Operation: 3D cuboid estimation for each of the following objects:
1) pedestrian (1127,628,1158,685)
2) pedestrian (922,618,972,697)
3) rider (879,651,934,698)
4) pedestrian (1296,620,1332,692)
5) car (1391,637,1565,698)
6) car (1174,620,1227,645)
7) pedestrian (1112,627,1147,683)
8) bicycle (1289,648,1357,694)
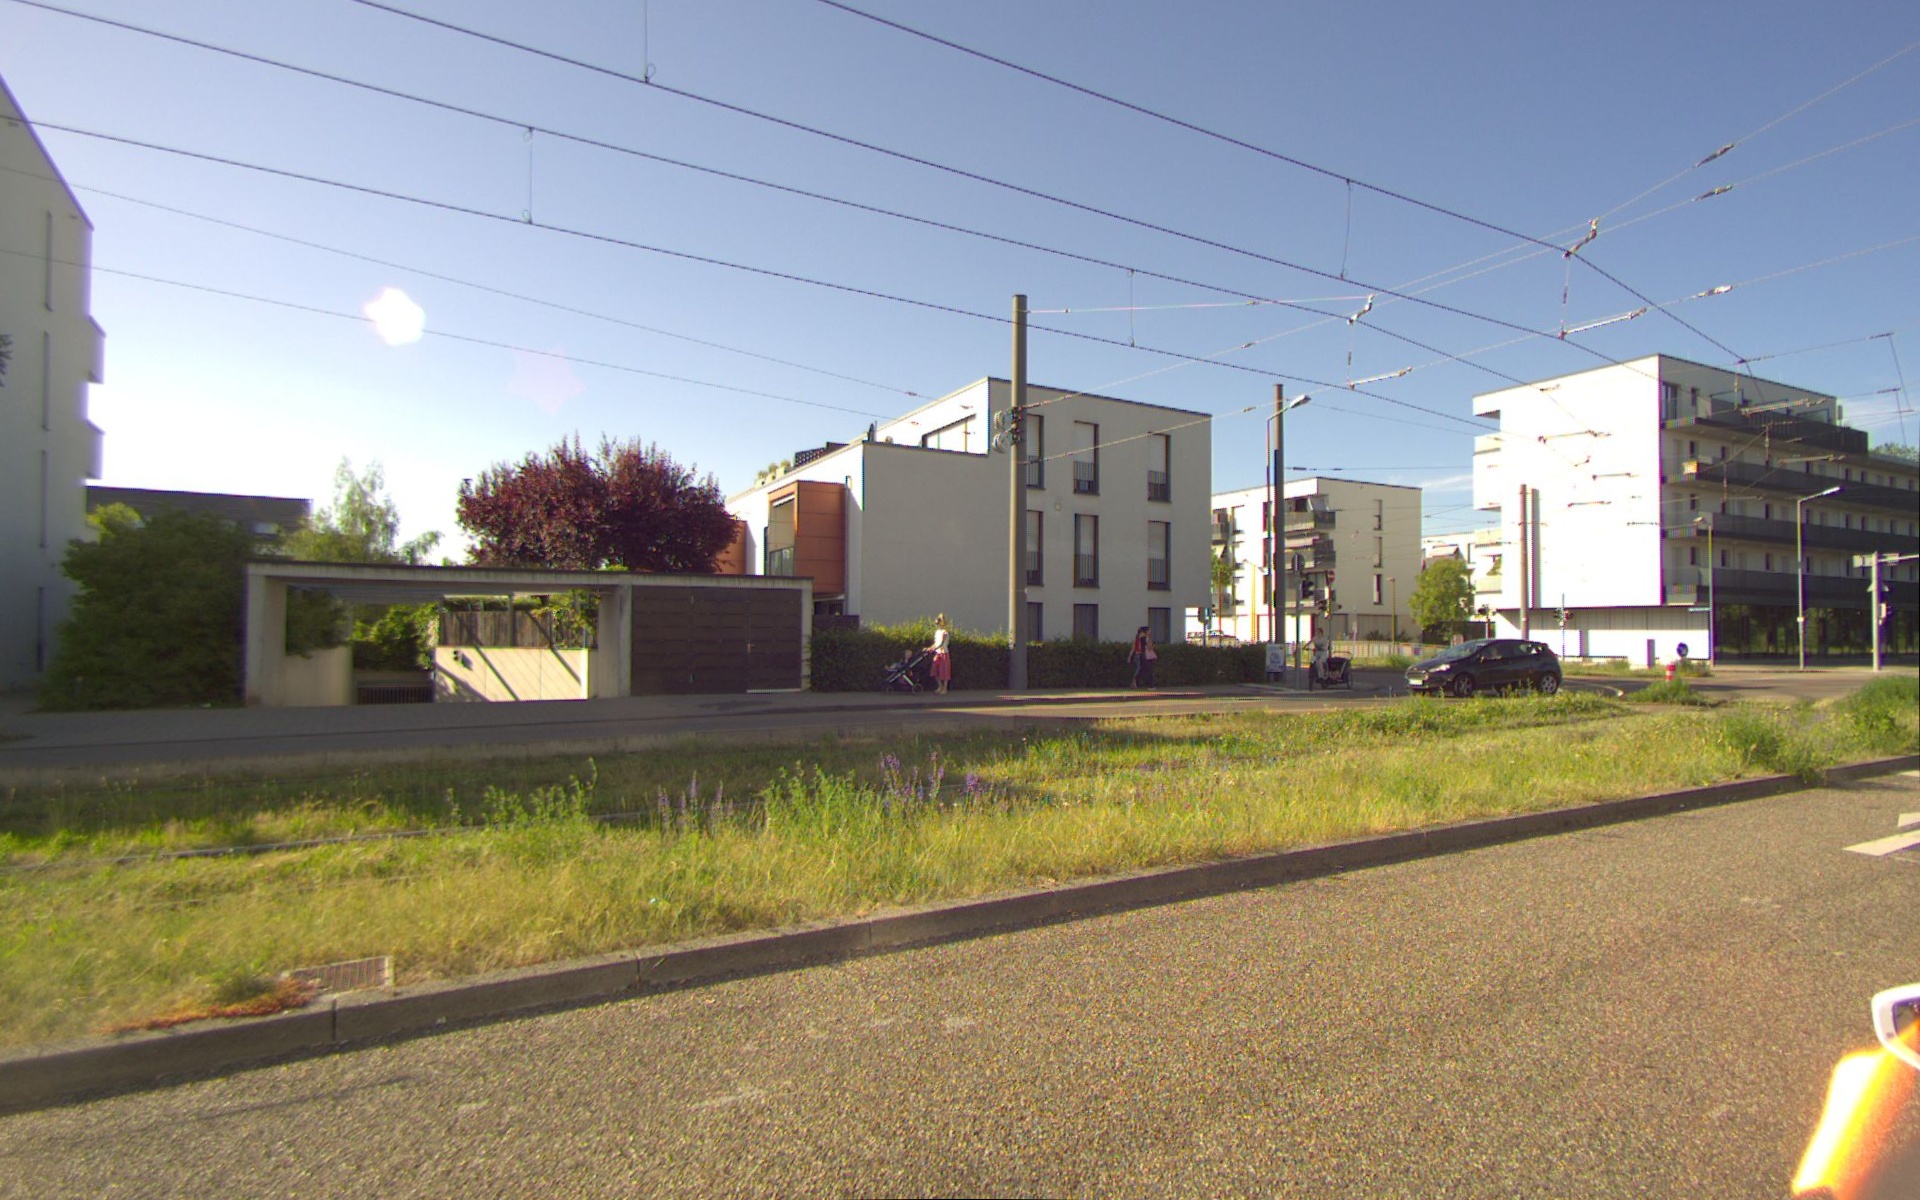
[{"bbox_3d":[4.858,1.496,26.729,0.605,1.483,0.554,1,0,-30],"label":"pedestrian"},{"bbox_3d":[-0.305,1.325,23.444,0.897,1.771,0.813,1,0,-25],"label":"pedestrian"},{"bbox_3d":[-1.227,1.686,23.026,1.031,1.016,0.775,1,0,-25],"label":"rider"},{"bbox_3d":[10.277,1.599,29.177,0.665,2.040,0.753,1,0,-43],"label":"pedestrian"},{"bbox_3d":[13.327,1.729,25.921,3.673,1.449,1.706,0,-3,-11],"label":"car"},{"bbox_3d":[19.366,2.620,81.139,1.977,1.862,3.967,1,-1,-31],"label":"car"},{"bbox_3d":[4.605,1.484,27.249,0.733,1.483,0.555,1,0,-28],"label":"pedestrian"},{"bbox_3d":[10.738,2.058,29.654,2.684,1.238,0.786,1,-1,-43],"label":"bicycle"}]
